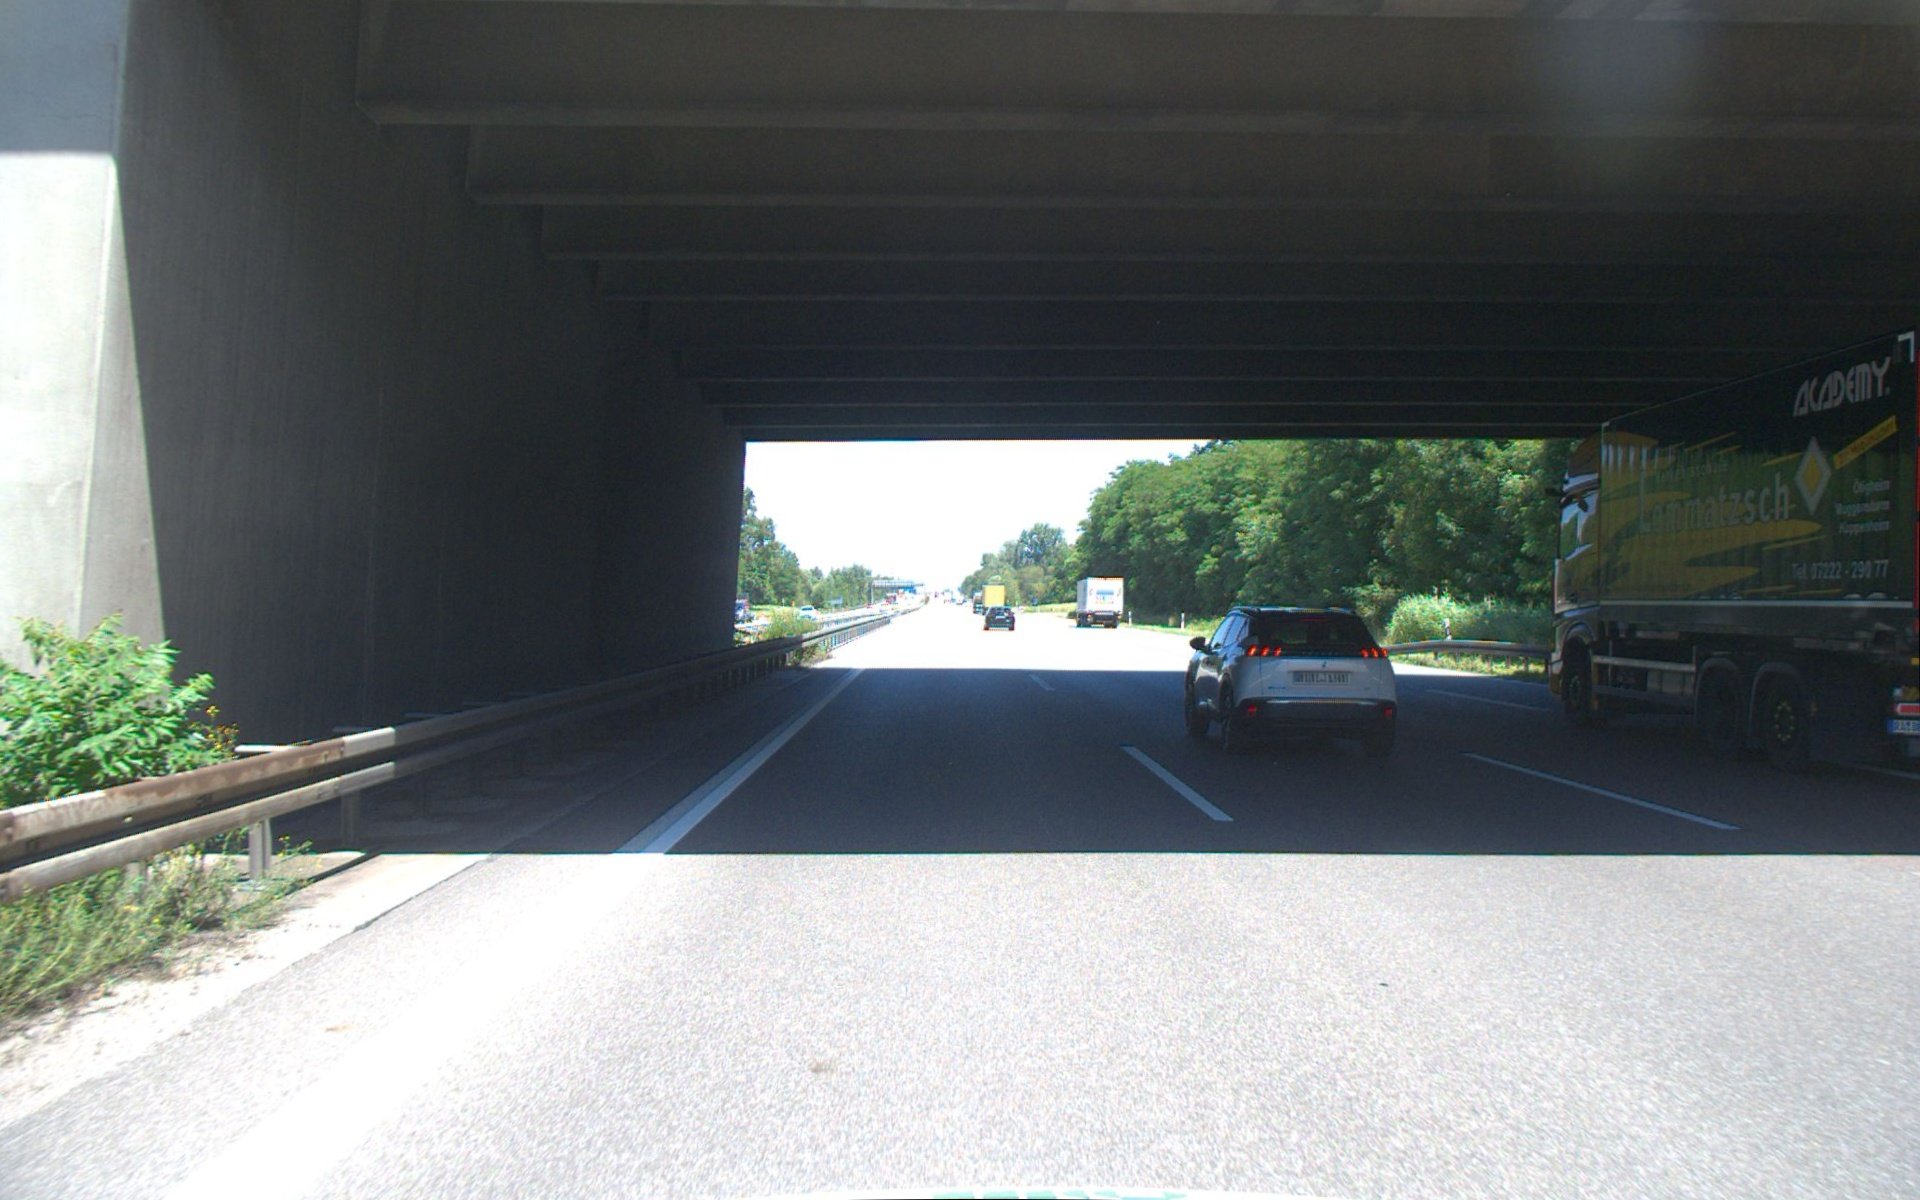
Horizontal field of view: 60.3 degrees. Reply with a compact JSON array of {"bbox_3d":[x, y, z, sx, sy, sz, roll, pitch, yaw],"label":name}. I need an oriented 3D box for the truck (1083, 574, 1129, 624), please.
[{"bbox_3d":[10.459,-0.024,119.563,2.965,3.377,10.775,1,0,3],"label":"truck"}]

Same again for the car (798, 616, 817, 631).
[{"bbox_3d":[-16.175,2.472,175.670,1.654,1.571,4.203,1,0,-1],"label":"car"}]

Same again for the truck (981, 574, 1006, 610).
[{"bbox_3d":[4.700,-1.069,233.995,3.308,4.966,15.085,1,0,0],"label":"truck"}]

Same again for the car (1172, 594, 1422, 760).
[{"bbox_3d":[3.658,0.776,18.826,1.790,1.636,4.807,0,0,-1],"label":"car"}]

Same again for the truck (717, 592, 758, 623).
[{"bbox_3d":[-23.036,0.771,171.828,2.697,3.043,12.852,-1,0,-1],"label":"truck"}]

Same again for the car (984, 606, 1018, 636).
[{"bbox_3d":[2.418,1.247,98.206,1.790,1.736,3.999,1,0,-1],"label":"car"}]

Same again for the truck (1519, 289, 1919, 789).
[{"bbox_3d":[9.529,-0.440,18.844,2.913,4.107,10.984,2,0,2],"label":"truck"}]
